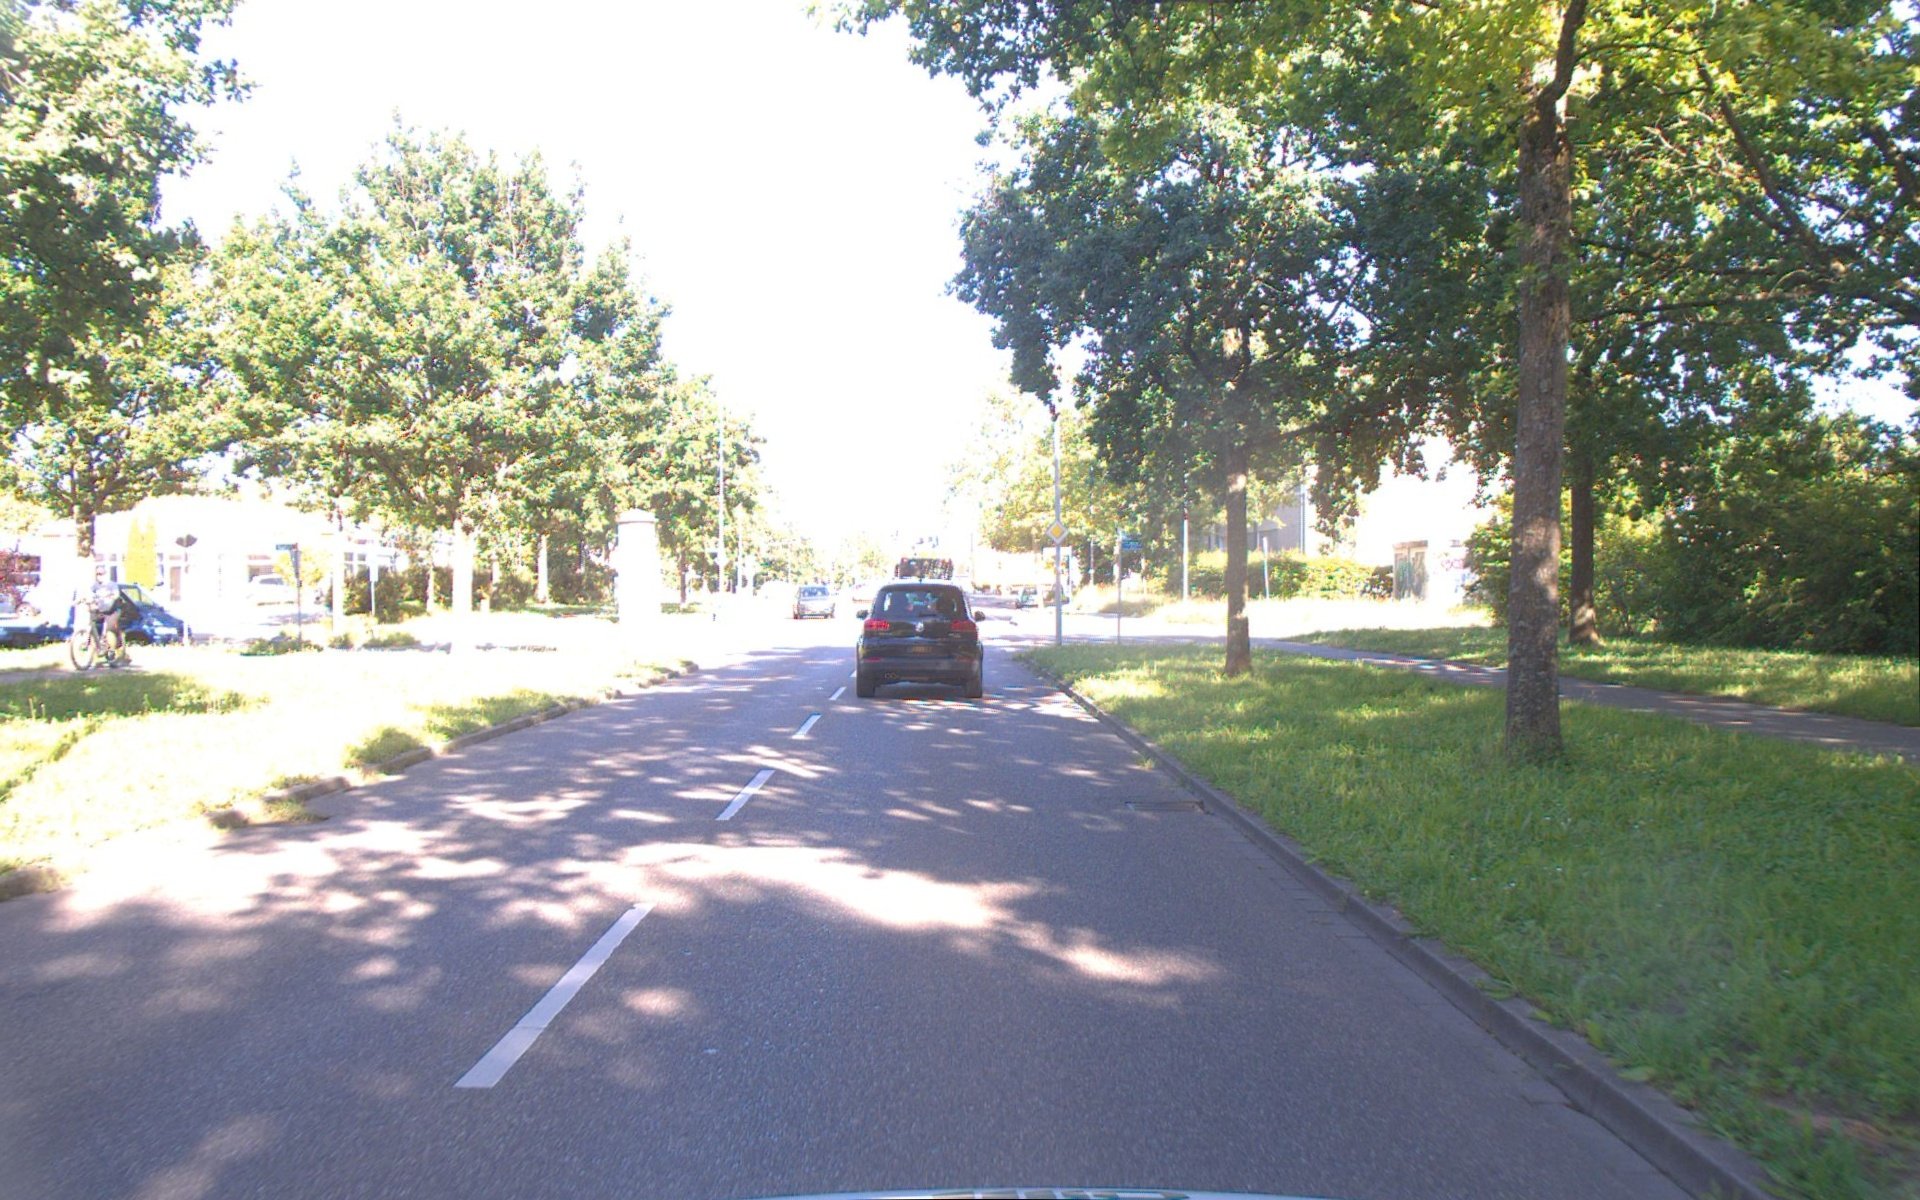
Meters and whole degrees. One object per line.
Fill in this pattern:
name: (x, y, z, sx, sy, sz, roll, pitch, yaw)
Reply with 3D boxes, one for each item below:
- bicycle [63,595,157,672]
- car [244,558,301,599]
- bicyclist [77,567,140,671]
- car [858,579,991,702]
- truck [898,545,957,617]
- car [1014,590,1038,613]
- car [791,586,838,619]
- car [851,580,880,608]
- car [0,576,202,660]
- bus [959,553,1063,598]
bicycle: (-15.621, 0.593, 30.450, 0.702, 1.344, 1.991, 1, 1, -1)
car: (-39.500, -1.216, 95.090, 1.955, 2.275, 3.995, -1, 1, -6)
bicyclist: (-15.631, 0.334, 30.380, 0.672, 1.863, 0.934, 1, 0, -1)
car: (-0.445, 0.526, 24.672, 1.745, 1.662, 4.001, 1, 1, 2)
truck: (-1.517, -0.939, 81.339, 2.460, 3.300, 8.154, -1, 1, 2)
car: (4.197, 0.071, 105.271, 1.422, 1.430, 2.856, 1, 1, 0)
car: (-7.004, 0.091, 79.775, 1.953, 1.481, 3.999, -1, 1, -1)
car: (-7.098, -0.471, 123.759, 1.955, 2.049, 3.996, 1, 1, -6)
car: (-22.595, 0.437, 42.011, 5.685, 2.049, 1.995, 1, 1, -11)
bus: (4.638, -2.232, 150.925, 8.937, 3.844, 3.380, 1, 1, -10)
